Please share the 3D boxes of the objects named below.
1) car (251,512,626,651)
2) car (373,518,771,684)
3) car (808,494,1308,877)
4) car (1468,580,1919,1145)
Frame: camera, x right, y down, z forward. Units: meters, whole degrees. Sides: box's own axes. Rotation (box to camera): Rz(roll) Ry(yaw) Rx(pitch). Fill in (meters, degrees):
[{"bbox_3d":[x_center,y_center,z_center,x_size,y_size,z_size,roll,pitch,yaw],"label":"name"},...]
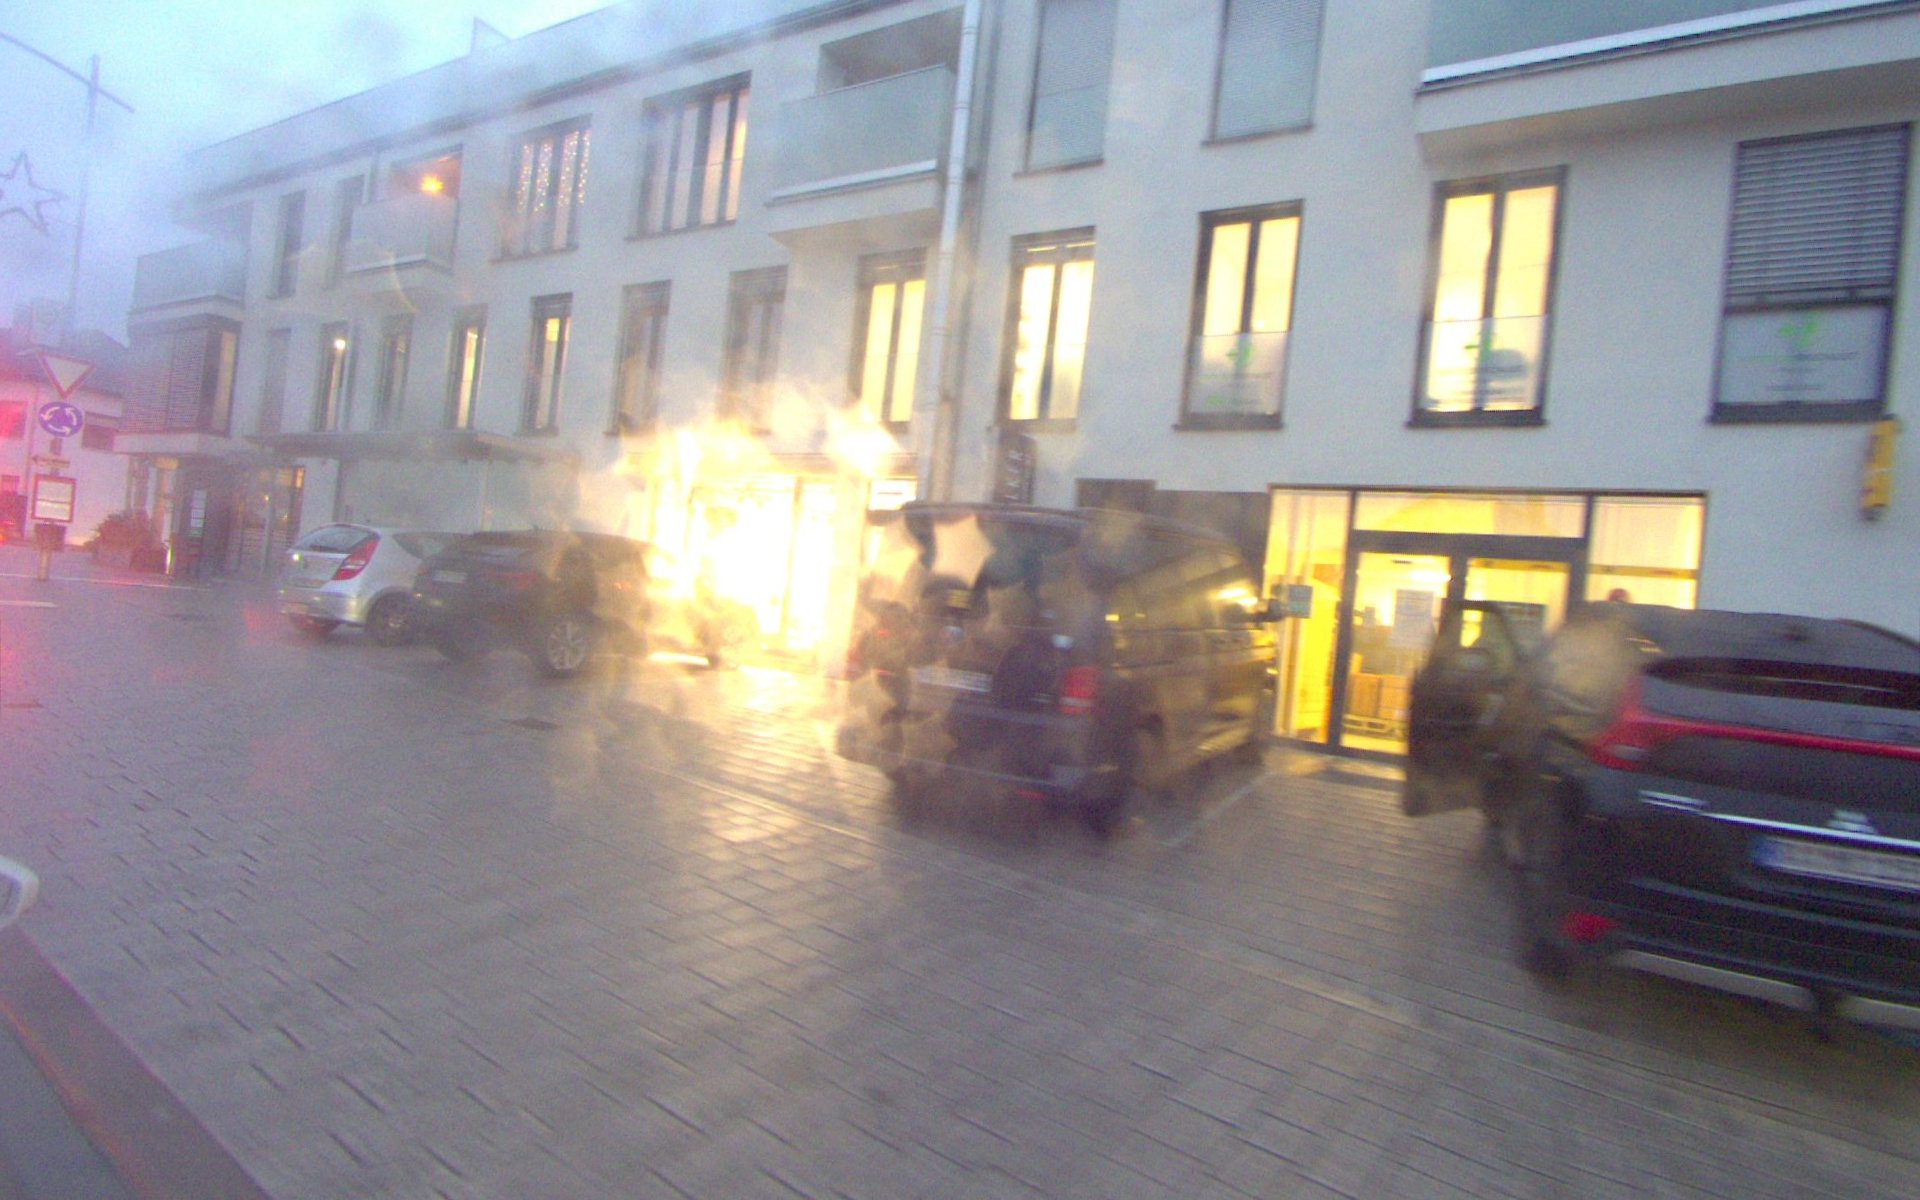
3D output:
[{"bbox_3d":[-6.774,-0.181,13.588,1.761,1.479,4.211,6,1,26],"label":"car"},{"bbox_3d":[-4.264,0.037,11.819,1.761,1.479,4.211,6,1,26],"label":"car"},{"bbox_3d":[1.089,0.374,7.639,1.917,1.947,4.560,6,4,31],"label":"car"},{"bbox_3d":[3.853,0.864,5.284,1.771,1.663,4.176,7,6,24],"label":"car"}]
